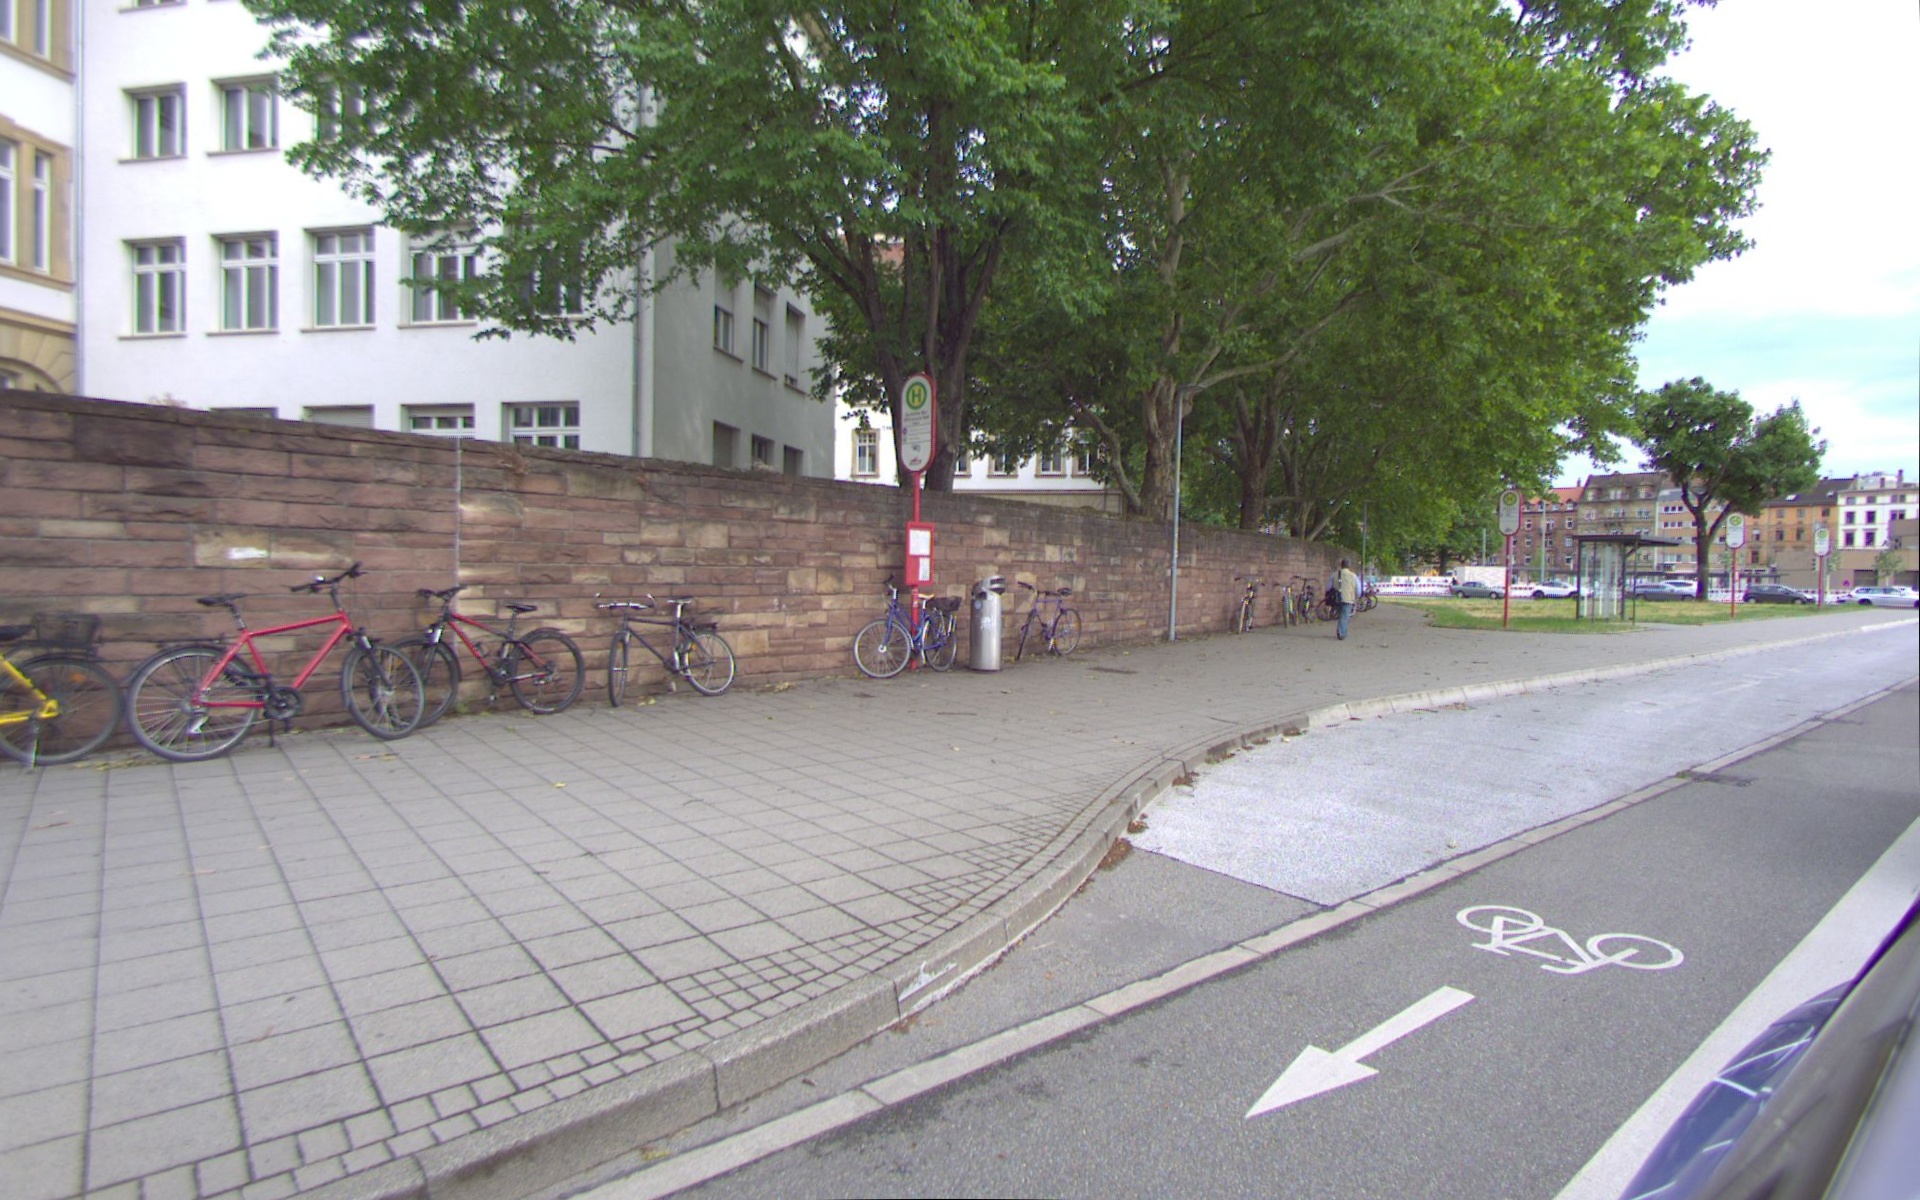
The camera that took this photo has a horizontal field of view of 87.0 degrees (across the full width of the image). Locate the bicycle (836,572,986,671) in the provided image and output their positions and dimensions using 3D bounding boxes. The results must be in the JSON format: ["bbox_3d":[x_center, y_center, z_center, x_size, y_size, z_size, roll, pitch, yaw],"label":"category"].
[{"bbox_3d":[-0.541,0.219,12.065,0.476,1.089,2.051,2,2,42],"label":"bicycle"}]

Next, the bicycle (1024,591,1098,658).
[{"bbox_3d":[1.479,0.329,14.656,0.290,0.896,1.590,2,2,36],"label":"bicycle"}]

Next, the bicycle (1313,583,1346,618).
[{"bbox_3d":[10.541,-0.004,28.851,0.648,0.951,1.939,2,2,27],"label":"bicycle"}]

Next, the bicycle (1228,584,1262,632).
[{"bbox_3d":[5.954,0.145,21.132,0.361,0.951,1.626,2,2,27],"label":"bicycle"}]

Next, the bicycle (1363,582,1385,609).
[{"bbox_3d":[17.265,-0.189,42.199,0.686,1.098,1.638,2,1,26],"label":"bicycle"}]

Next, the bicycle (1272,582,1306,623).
[{"bbox_3d":[8.003,0.042,24.587,0.477,0.951,1.882,2,2,27],"label":"bicycle"}]

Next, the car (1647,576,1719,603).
[{"bbox_3d":[55.509,-0.782,77.736,4.271,2.039,1.968,0,0,44],"label":"car"}]

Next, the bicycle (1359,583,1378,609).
[{"bbox_3d":[15.528,-0.154,38.482,0.555,0.951,1.342,2,2,26],"label":"bicycle"}]

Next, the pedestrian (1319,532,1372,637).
[{"bbox_3d":[7.734,-0.311,20.289,0.778,2.039,0.879,3,1,32],"label":"pedestrian"}]

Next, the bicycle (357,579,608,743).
[{"bbox_3d":[-3.703,0.418,8.035,0.336,1.158,1.919,0,0,33],"label":"bicycle"}]

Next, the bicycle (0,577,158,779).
[{"bbox_3d":[-5.778,0.451,5.755,0.383,1.158,1.922,0,0,29],"label":"bicycle"}]

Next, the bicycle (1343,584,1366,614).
[{"bbox_3d":[13.163,-0.053,33.756,0.563,0.951,1.752,2,2,26],"label":"bicycle"}]

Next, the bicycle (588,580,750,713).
[{"bbox_3d":[-2.712,0.398,9.592,0.336,1.158,1.658,0,0,33],"label":"bicycle"}]

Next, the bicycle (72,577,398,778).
[{"bbox_3d":[-4.740,0.436,6.807,0.381,1.158,1.930,0,0,18],"label":"bicycle"}]
